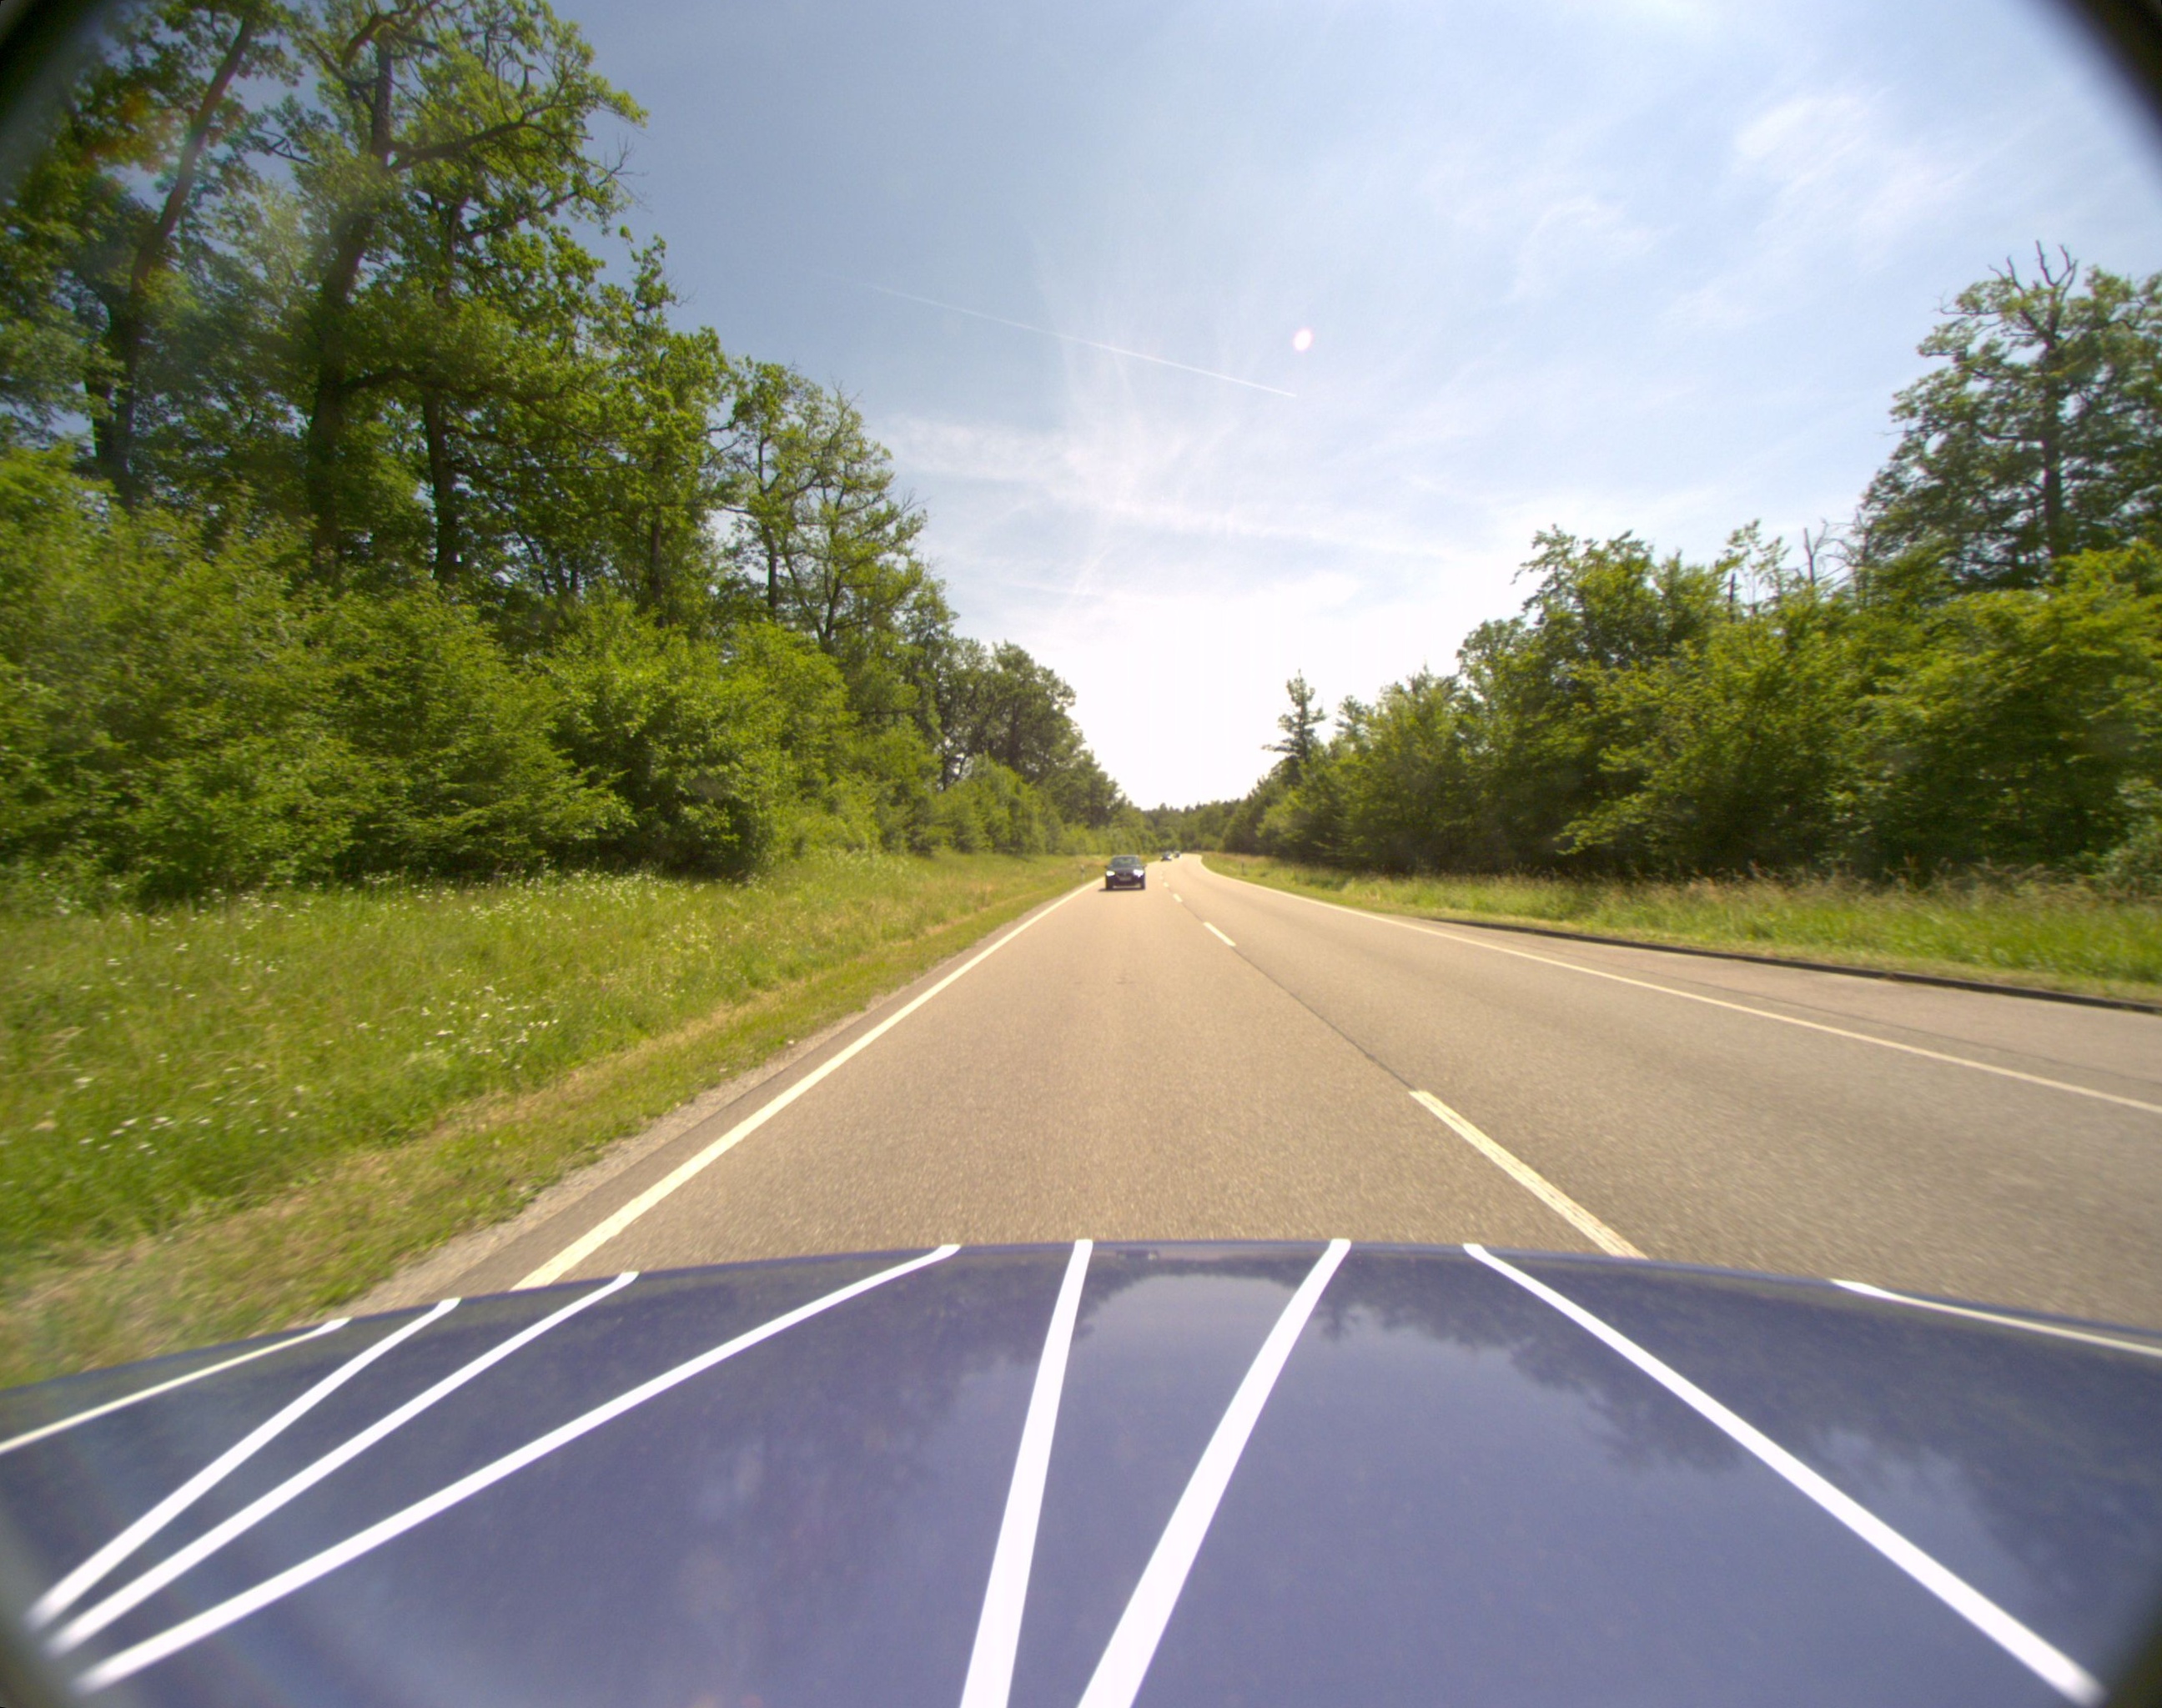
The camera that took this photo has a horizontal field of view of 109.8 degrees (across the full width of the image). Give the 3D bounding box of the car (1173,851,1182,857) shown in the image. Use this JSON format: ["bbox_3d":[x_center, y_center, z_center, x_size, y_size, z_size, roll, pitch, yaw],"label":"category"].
[{"bbox_3d":[22.619,0.022,178.181,1.774,1.454,4.003,-2,0,11],"label":"car"}]

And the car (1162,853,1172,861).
[{"bbox_3d":[14.897,0.499,131.637,1.775,1.454,3.950,-2,0,7],"label":"car"}]

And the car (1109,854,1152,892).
[{"bbox_3d":[2.301,0.797,34.303,1.713,1.516,4.243,-3,0,6],"label":"car"}]
